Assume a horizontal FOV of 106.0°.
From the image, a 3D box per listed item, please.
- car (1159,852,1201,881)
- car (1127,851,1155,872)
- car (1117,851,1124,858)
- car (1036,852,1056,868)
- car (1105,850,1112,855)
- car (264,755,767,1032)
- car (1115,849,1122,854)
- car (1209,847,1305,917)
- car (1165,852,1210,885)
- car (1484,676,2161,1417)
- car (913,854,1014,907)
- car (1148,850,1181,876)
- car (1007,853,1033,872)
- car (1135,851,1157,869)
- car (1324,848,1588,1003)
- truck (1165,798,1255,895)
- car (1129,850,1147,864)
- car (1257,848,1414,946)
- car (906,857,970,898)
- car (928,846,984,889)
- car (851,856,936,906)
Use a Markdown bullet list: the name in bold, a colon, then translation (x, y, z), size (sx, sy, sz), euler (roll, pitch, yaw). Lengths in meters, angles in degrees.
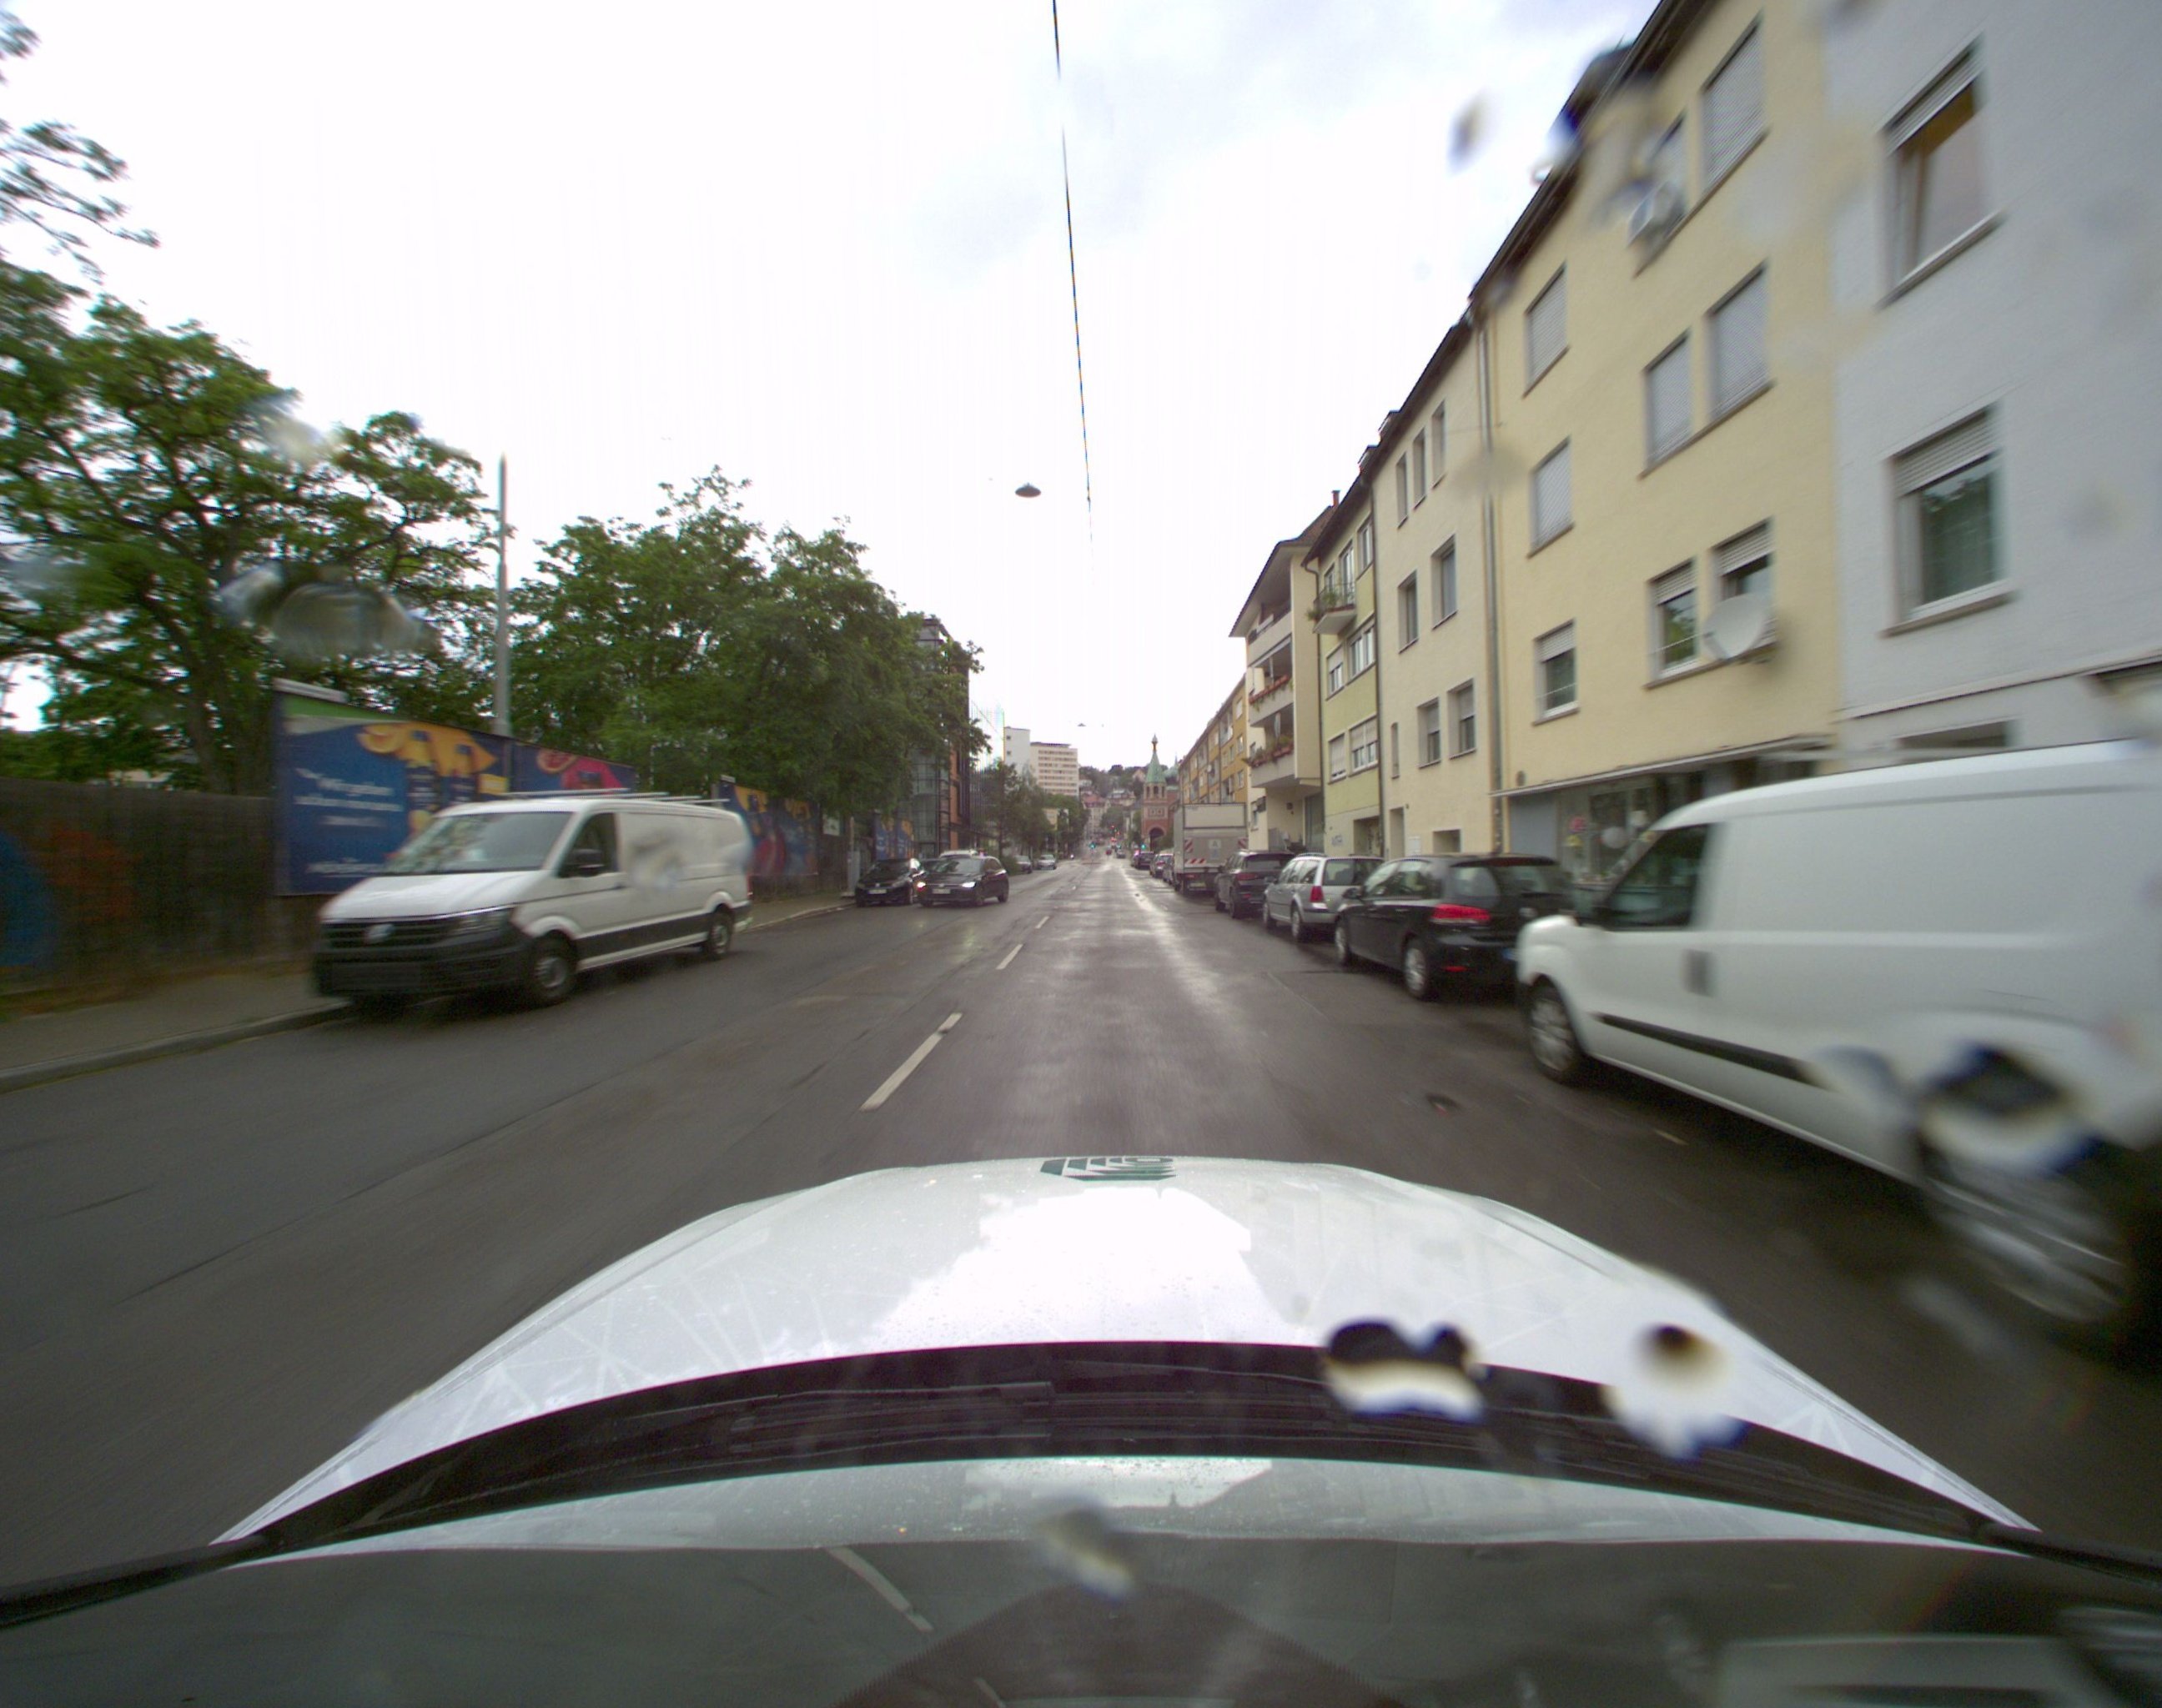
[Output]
- **car**: translation (5.215, 0.666, 43.196), size (1.659, 1.421, 3.918), euler (-1, -1, -1)
- **car**: translation (4.204, 0.544, 57.554), size (1.658, 1.400, 3.921), euler (-1, 0, 0)
- **car**: translation (10.156, 0.173, 210.835), size (1.724, 1.653, 4.005), euler (-1, 0, 5)
- **car**: translation (-3.454, 0.606, 81.758), size (1.704, 1.450, 4.294), euler (-2, 0, 1)
- **car**: translation (8.394, -0.511, 249.800), size (1.901, 1.510, 4.001), euler (0, 0, 1)
- **car**: translation (-6.365, 0.335, 10.483), size (2.004, 2.487, 5.987), euler (-2, 0, 2)
- **car**: translation (11.323, -0.740, 247.351), size (1.885, 1.510, 4.001), euler (1, 0, 1)
- **car**: translation (4.347, 0.618, 20.648), size (1.657, 1.573, 4.099), euler (-1, 0, 2)
- **car**: translation (4.925, 0.622, 38.120), size (1.657, 1.421, 4.044), euler (-1, 0, 2)
- **car**: translation (3.822, 0.476, 3.983), size (1.810, 1.924, 4.243), euler (-1, 0, 3)
- **car**: translation (-3.442, 0.724, 24.671), size (1.795, 1.415, 4.394), euler (-1, 0, 8)
- **car**: translation (5.151, 0.548, 50.451), size (1.658, 1.502, 3.921), euler (-1, 0, 0)
- **car**: translation (-4.951, 0.654, 66.520), size (1.797, 1.450, 4.656), euler (-2, 0, 0)
- **car**: translation (6.064, 0.546, 76.039), size (1.811, 1.652, 4.077), euler (1, 0, 1)
- **car**: translation (4.138, 0.678, 9.603), size (1.571, 1.470, 3.503), euler (-1, 0, 1)
- **truck**: translation (4.613, -0.246, 30.355), size (2.460, 3.172, 7.040), euler (-1, 0, 2)
- **car**: translation (6.495, 0.292, 93.410), size (1.811, 1.522, 4.077), euler (1, 0, 1)
- **car**: translation (4.421, 0.662, 14.776), size (1.657, 1.500, 4.099), euler (-1, 0, 2)
- **car**: translation (-5.565, 0.879, 32.225), size (1.676, 1.462, 4.277), euler (-2, 0, 1)
- **car**: translation (-5.611, 0.587, 36.984), size (1.717, 1.800, 4.345), euler (-2, 0, 1)
- **car**: translation (-5.840, 0.802, 25.742), size (1.676, 1.398, 3.911), euler (-2, 0, 1)
